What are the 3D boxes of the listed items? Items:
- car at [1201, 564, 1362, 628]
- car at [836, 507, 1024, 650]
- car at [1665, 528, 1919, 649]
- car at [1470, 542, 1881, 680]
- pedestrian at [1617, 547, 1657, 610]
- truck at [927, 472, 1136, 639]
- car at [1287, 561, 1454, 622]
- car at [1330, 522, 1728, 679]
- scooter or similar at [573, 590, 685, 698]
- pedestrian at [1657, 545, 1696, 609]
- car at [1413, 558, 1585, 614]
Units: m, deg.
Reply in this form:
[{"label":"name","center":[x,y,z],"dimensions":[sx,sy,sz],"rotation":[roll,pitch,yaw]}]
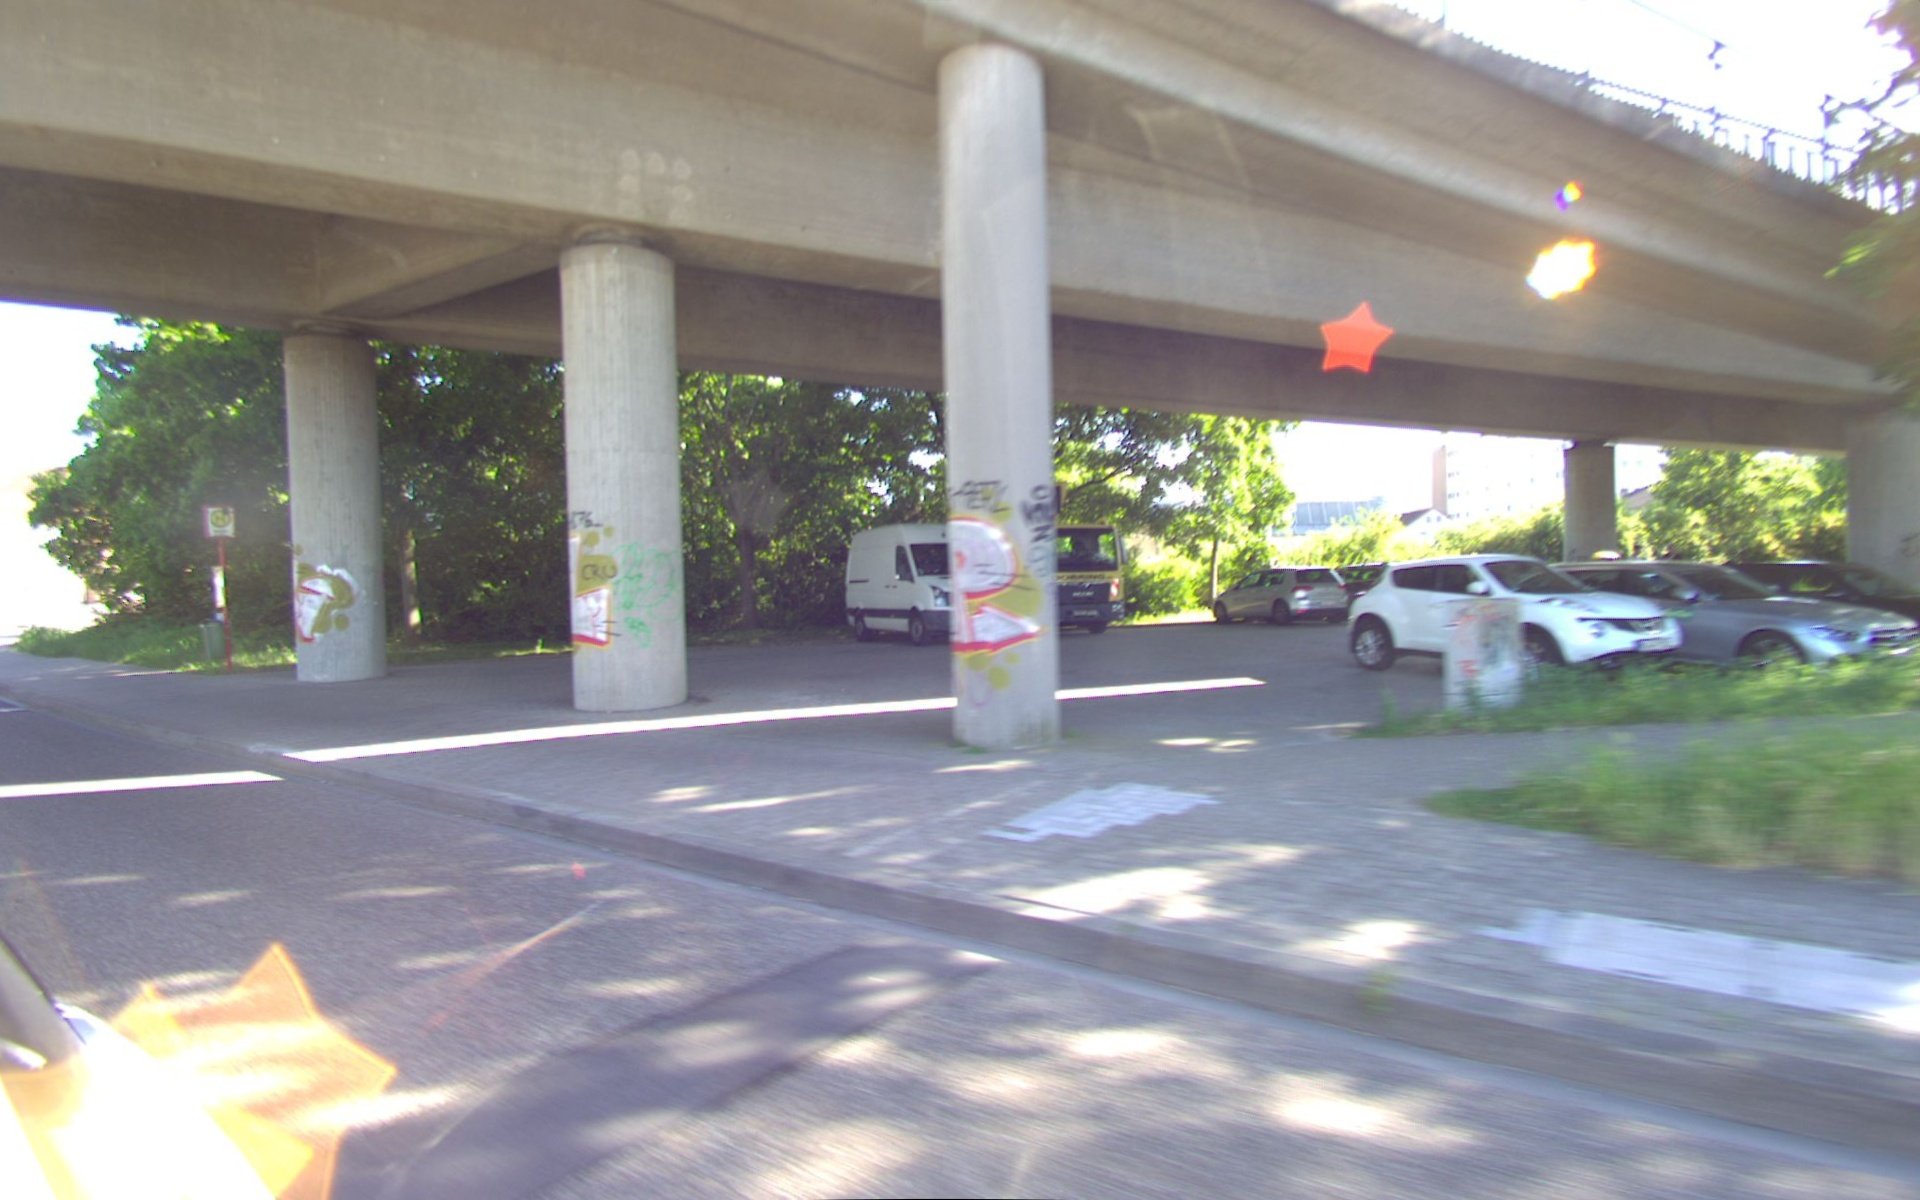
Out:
[{"label":"car","center":[8.098,-0.115,25.912],"dimensions":[1.710,1.453,4.264],"rotation":[-2,1,-19]},{"label":"car","center":[-0.882,-0.396,22.245],"dimensions":[1.913,2.702,6.029],"rotation":[-2,0,-24]},{"label":"car","center":[12.813,-0.172,14.409],"dimensions":[1.654,1.564,4.313],"rotation":[-2,1,-23]},{"label":"car","center":[9.401,0.104,13.774],"dimensions":[1.654,1.564,4.313],"rotation":[-2,1,-23]},{"label":"pedestrian","center":[18.187,-0.573,27.211],"dimensions":[0.663,1.675,0.707],"rotation":[-1,1,16]},{"label":"truck","center":[1.476,-1.010,25.798],"dimensions":[2.440,3.578,7.992],"rotation":[-2,1,-18]},{"label":"car","center":[10.775,-0.224,26.930],"dimensions":[1.710,1.453,4.264],"rotation":[-2,1,-19]},{"label":"car","center":[6.948,0.053,12.960],"dimensions":[1.837,1.654,4.295],"rotation":[1,-1,-19]},{"label":"scooter or similar","center":[-4.226,0.545,12.995],"dimensions":[1.287,1.310,0.580],"rotation":[-2,1,-13]},{"label":"pedestrian","center":[19.247,-0.611,27.170],"dimensions":[0.658,1.675,0.711],"rotation":[-2,1,-42]},{"label":"car","center":[15.200,-0.390,28.813],"dimensions":[1.710,1.453,4.264],"rotation":[-2,1,-19]}]
